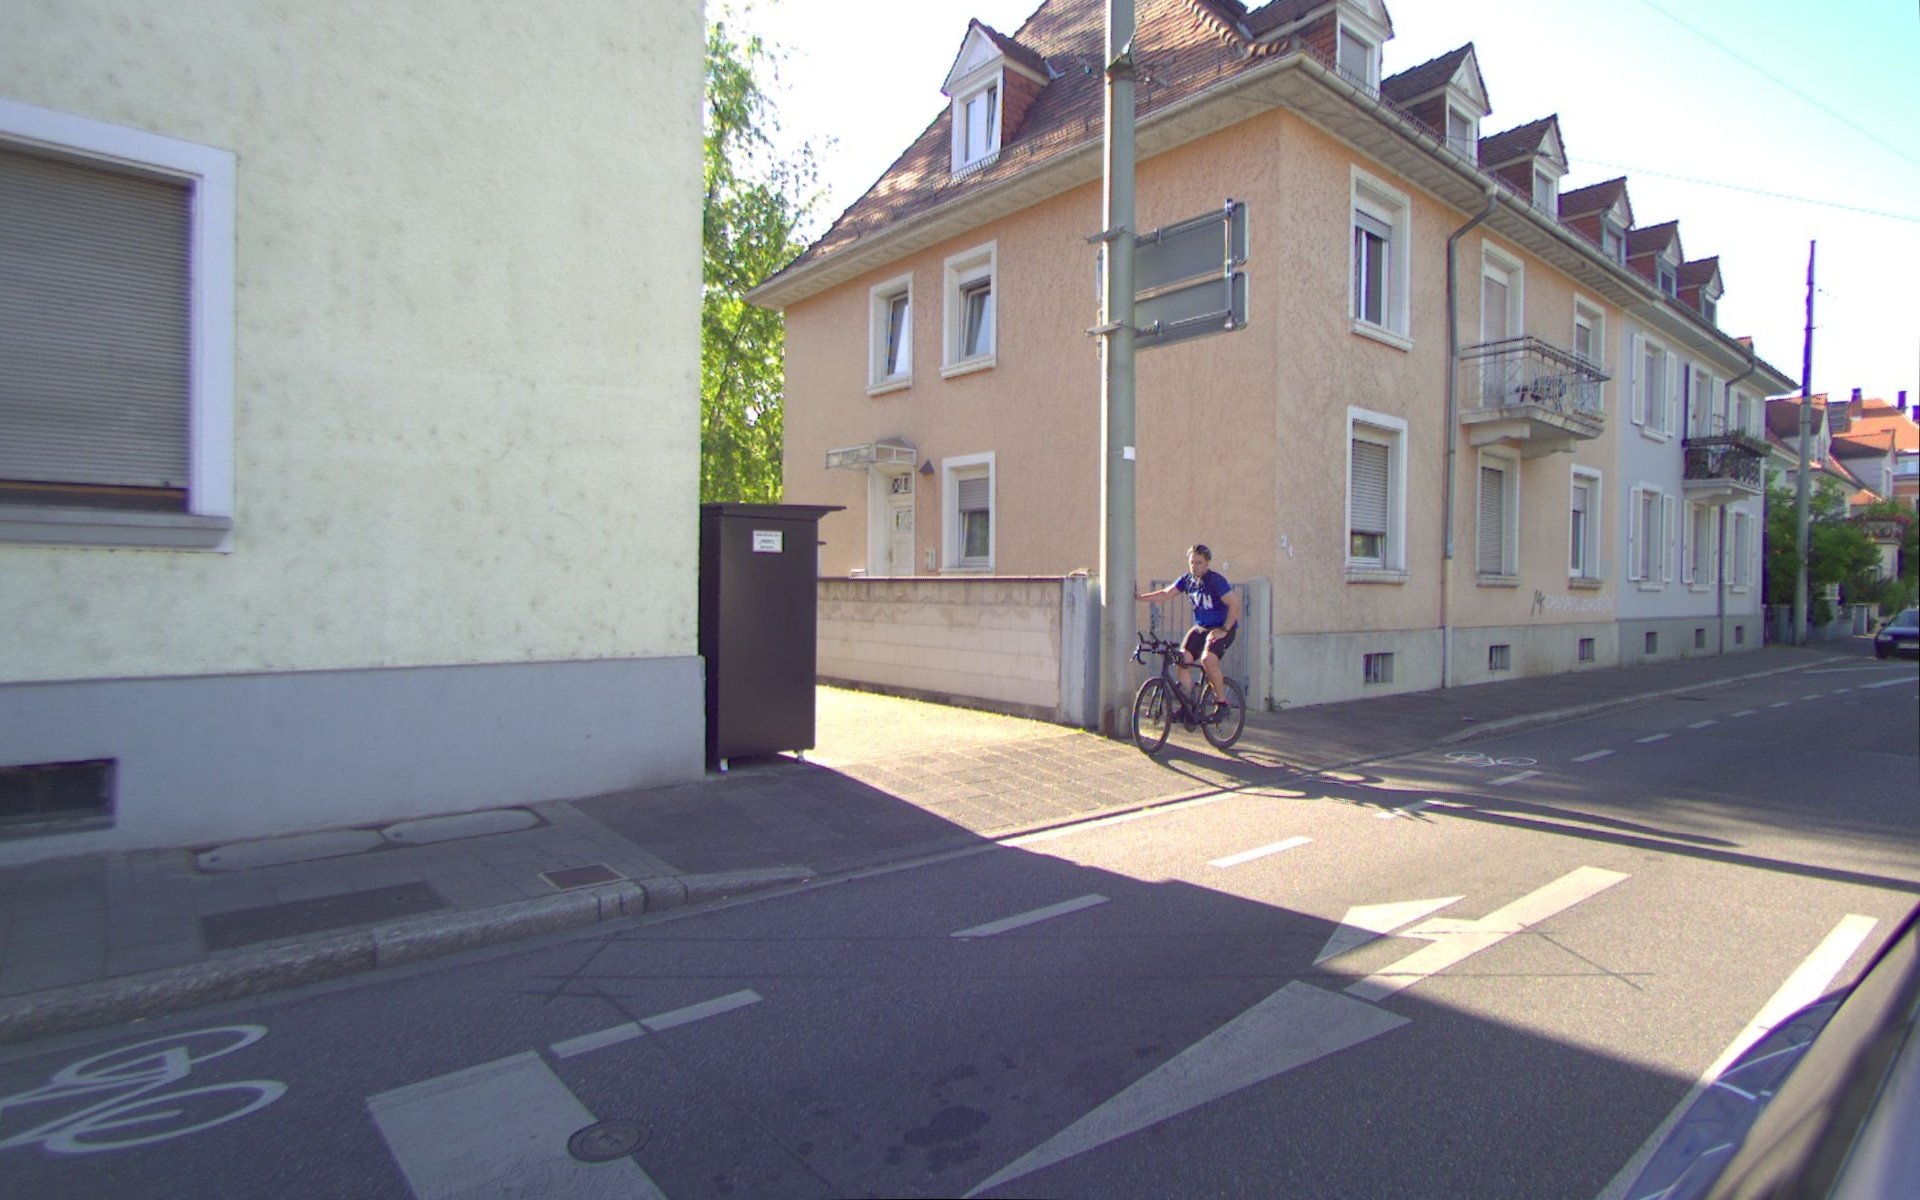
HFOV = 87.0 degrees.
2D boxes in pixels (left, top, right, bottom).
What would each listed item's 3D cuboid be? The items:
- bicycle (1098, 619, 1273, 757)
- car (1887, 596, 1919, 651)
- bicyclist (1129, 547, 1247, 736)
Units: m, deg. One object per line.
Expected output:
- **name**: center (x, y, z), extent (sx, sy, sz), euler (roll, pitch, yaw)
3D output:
- **bicycle**: center (2.105, 0.763, 9.324), extent (1.763, 1.074, 0.551), euler (0, 6, -41)
- **car**: center (26.704, 0.621, 27.398), extent (4.347, 1.425, 1.866), euler (0, 1, -41)
- **bicyclist**: center (2.096, 0.350, 9.278), extent (0.998, 1.637, 0.562), euler (0, 1, -40)
